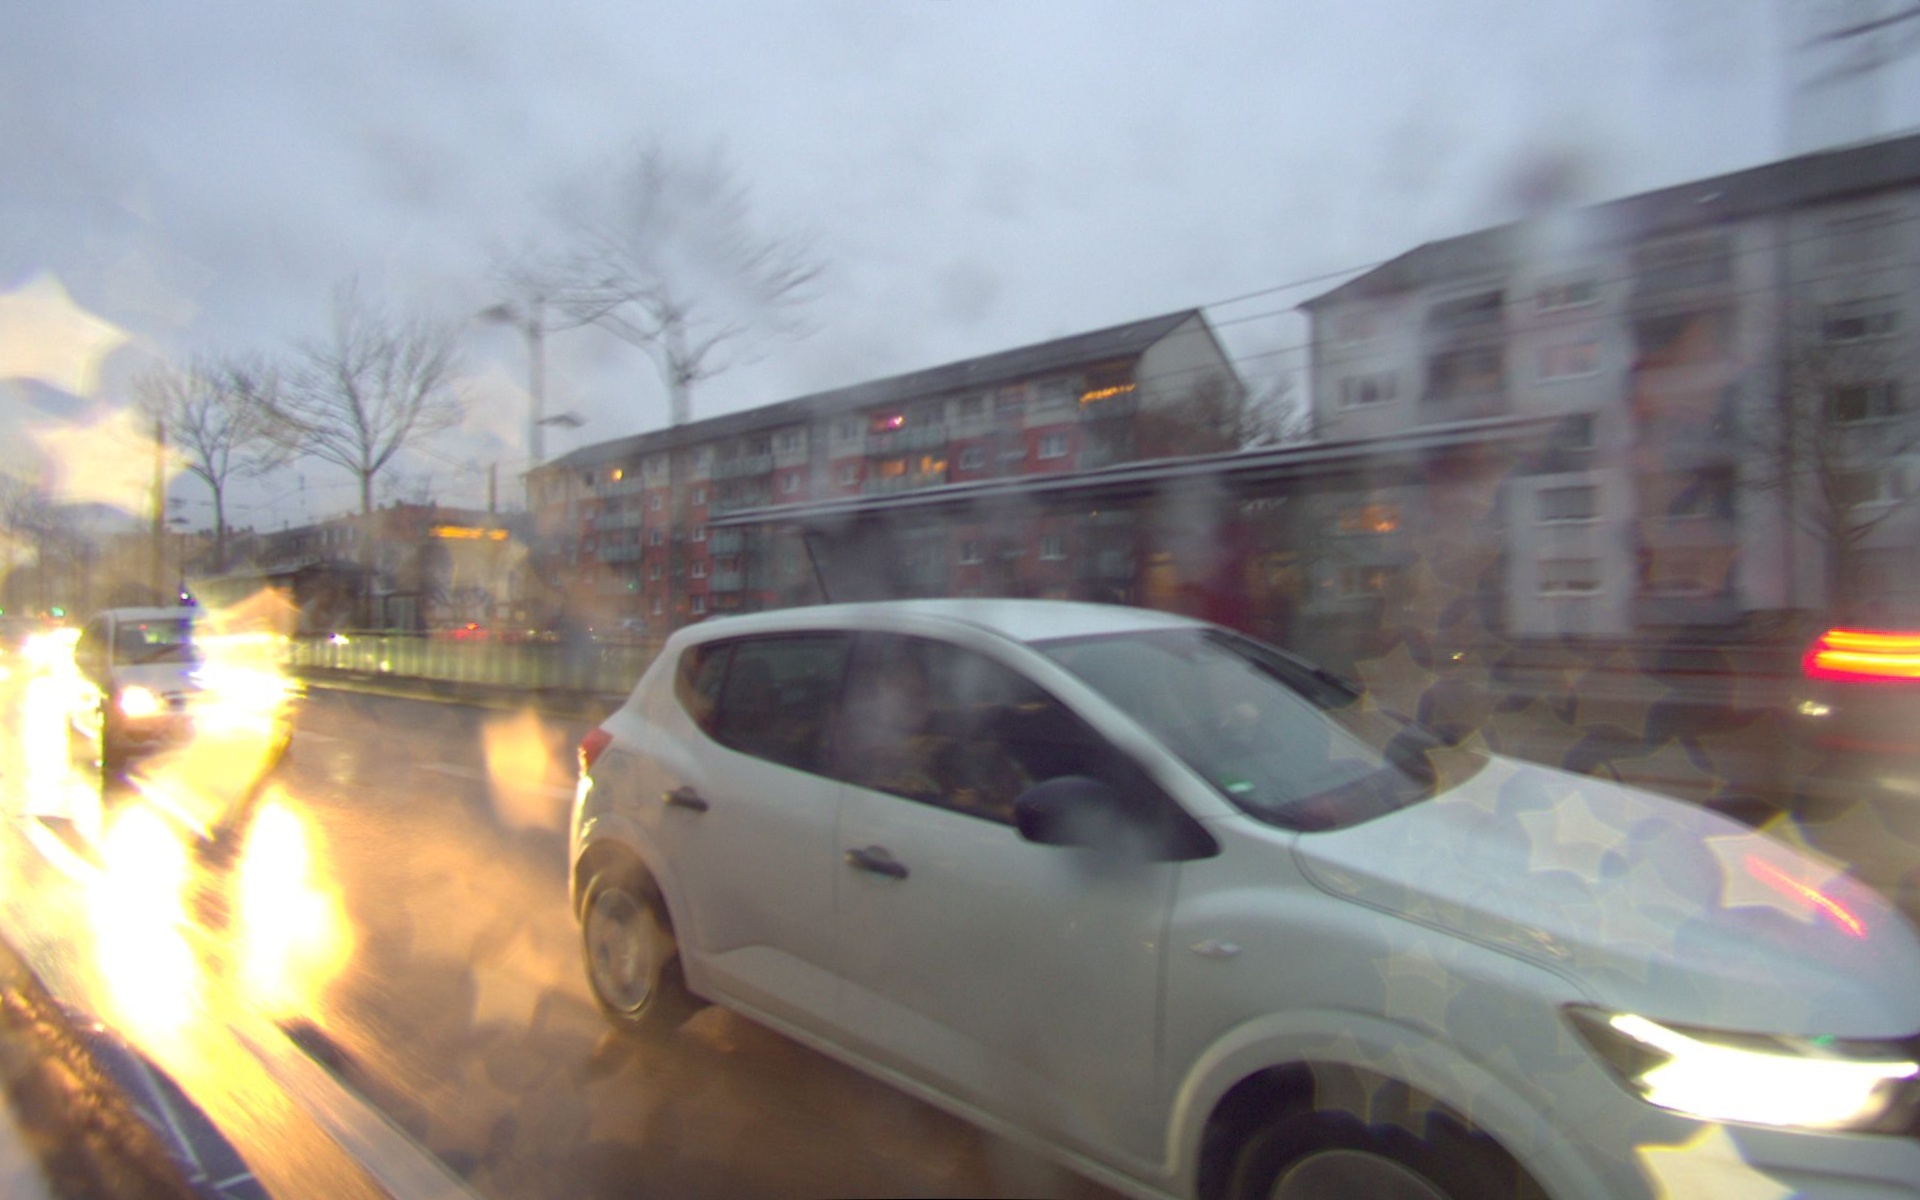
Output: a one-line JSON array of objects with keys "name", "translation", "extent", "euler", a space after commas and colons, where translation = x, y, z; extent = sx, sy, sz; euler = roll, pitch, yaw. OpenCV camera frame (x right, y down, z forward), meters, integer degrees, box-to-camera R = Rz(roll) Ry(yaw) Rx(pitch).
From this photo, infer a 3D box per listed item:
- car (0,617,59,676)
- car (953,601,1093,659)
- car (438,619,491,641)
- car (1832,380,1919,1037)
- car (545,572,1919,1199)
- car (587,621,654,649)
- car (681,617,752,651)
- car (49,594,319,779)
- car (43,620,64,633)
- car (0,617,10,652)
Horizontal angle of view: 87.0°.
[{"name": "car", "translation": [-26.506, 1.277, 27.857], "extent": [4.088, 1.513, 1.950], "euler": [-2, -1, 40]}, {"name": "car", "translation": [1.737, 0.801, 28.717], "extent": [3.760, 1.508, 1.739], "euler": [0, 0, 45]}, {"name": "car", "translation": [-32.832, 1.947, 67.055], "extent": [4.214, 1.302, 1.760], "euler": [0, 0, 42]}, {"name": "car", "translation": [5.306, 0.302, 2.387], "extent": [4.881, 2.049, 1.932], "euler": [-1, -1, 42]}, {"name": "car", "translation": [0.553, 0.695, 2.950], "extent": [3.999, 1.477, 1.690], "euler": [0, 0, 42]}, {"name": "car", "translation": [-20.254, 2.059, 60.340], "extent": [4.143, 1.555, 1.709], "euler": [0, 0, 36]}, {"name": "car", "translation": [-13.116, 1.814, 54.434], "extent": [4.151, 1.658, 1.706], "euler": [0, 0, 43]}, {"name": "car", "translation": [-8.901, 0.793, 11.484], "extent": [1.992, 1.690, 4.003], "euler": [-1, 0, -44]}, {"name": "car", "translation": [-126.900, 3.714, 141.665], "extent": [3.745, 1.651, 1.508], "euler": [0, -1, 38]}, {"name": "car", "translation": [-49.493, 1.762, 51.234], "extent": [3.753, 1.669, 1.688], "euler": [0, 0, 42]}]
